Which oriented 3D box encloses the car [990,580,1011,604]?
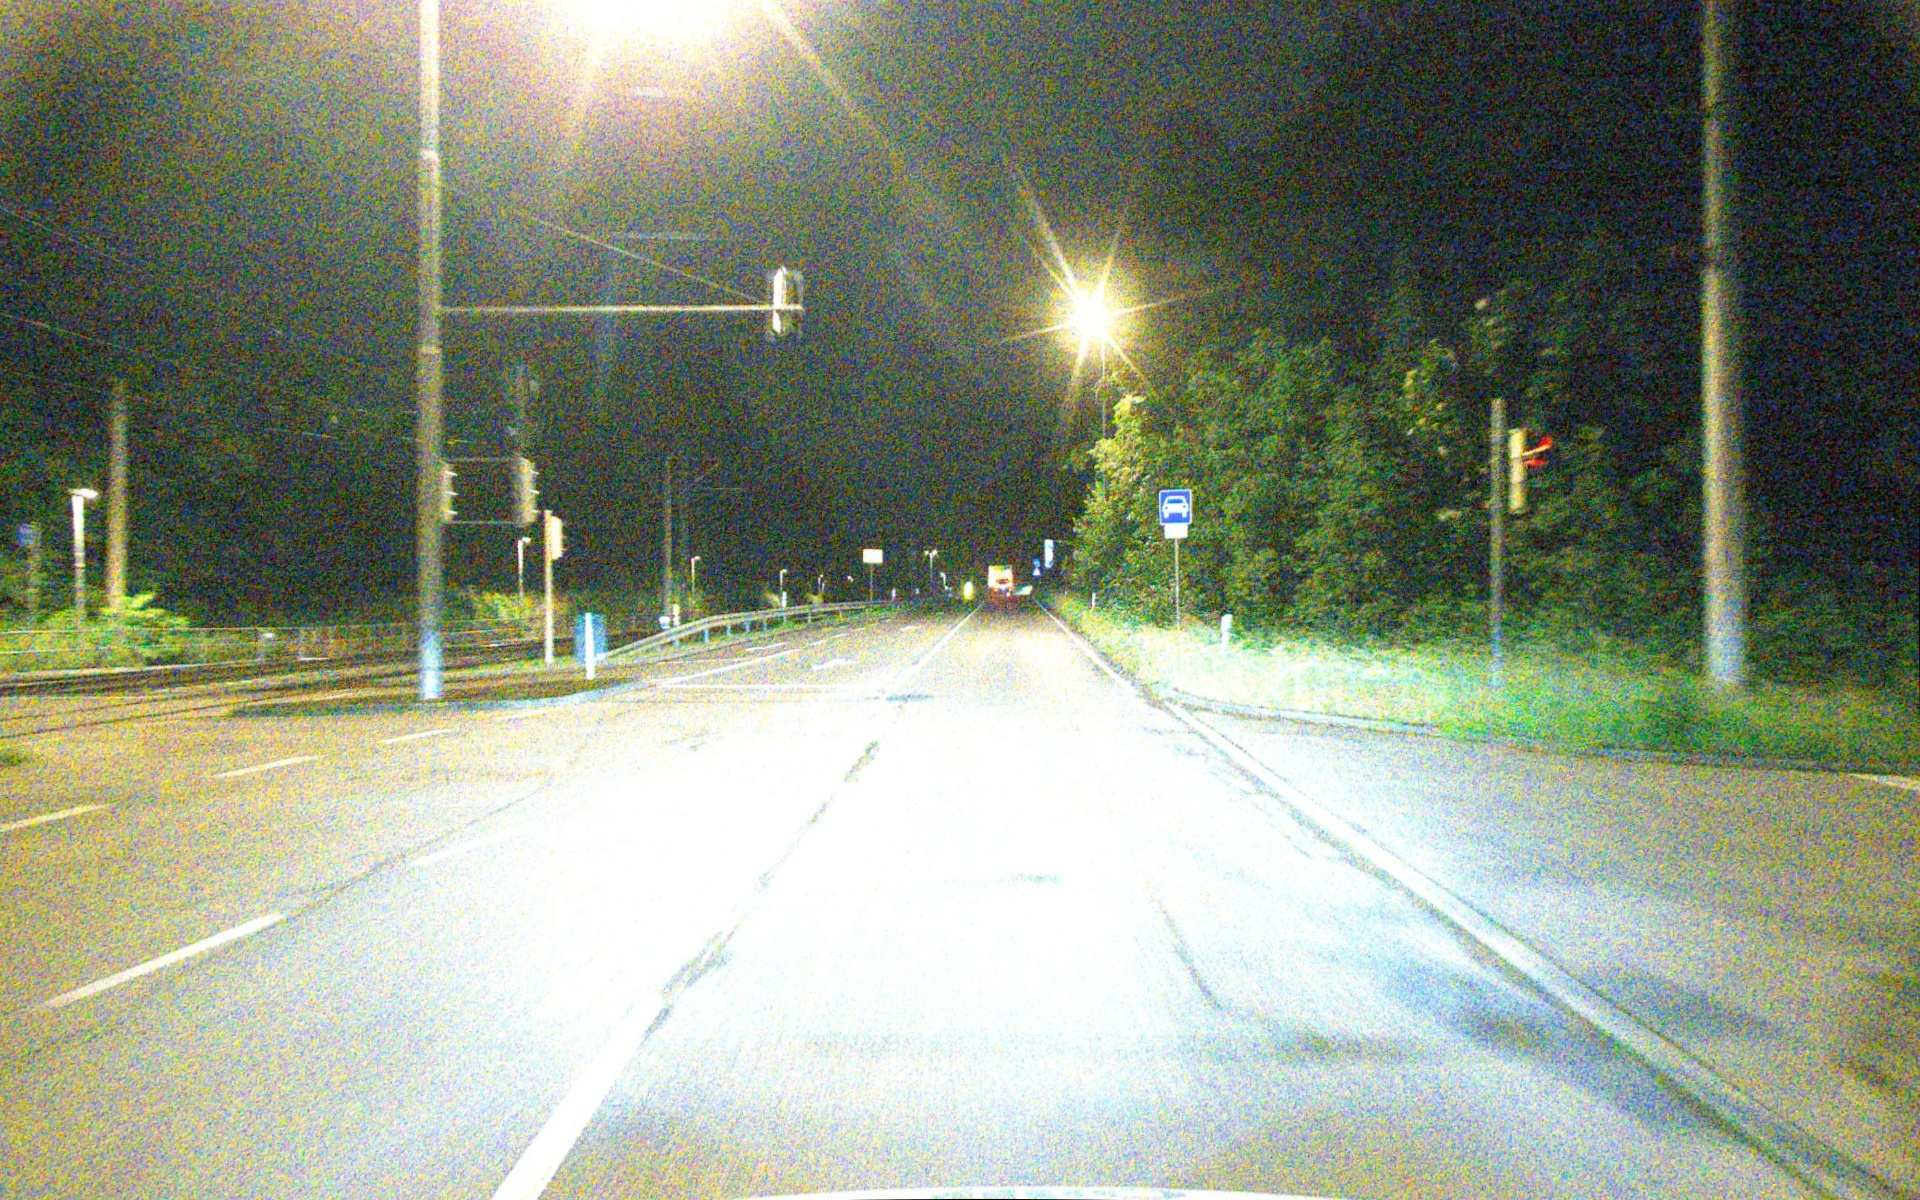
[{"bbox_3d":[3.791,-0.700,154.761,1.952,2.049,4.000,0,-2,1],"label":"car"}]
